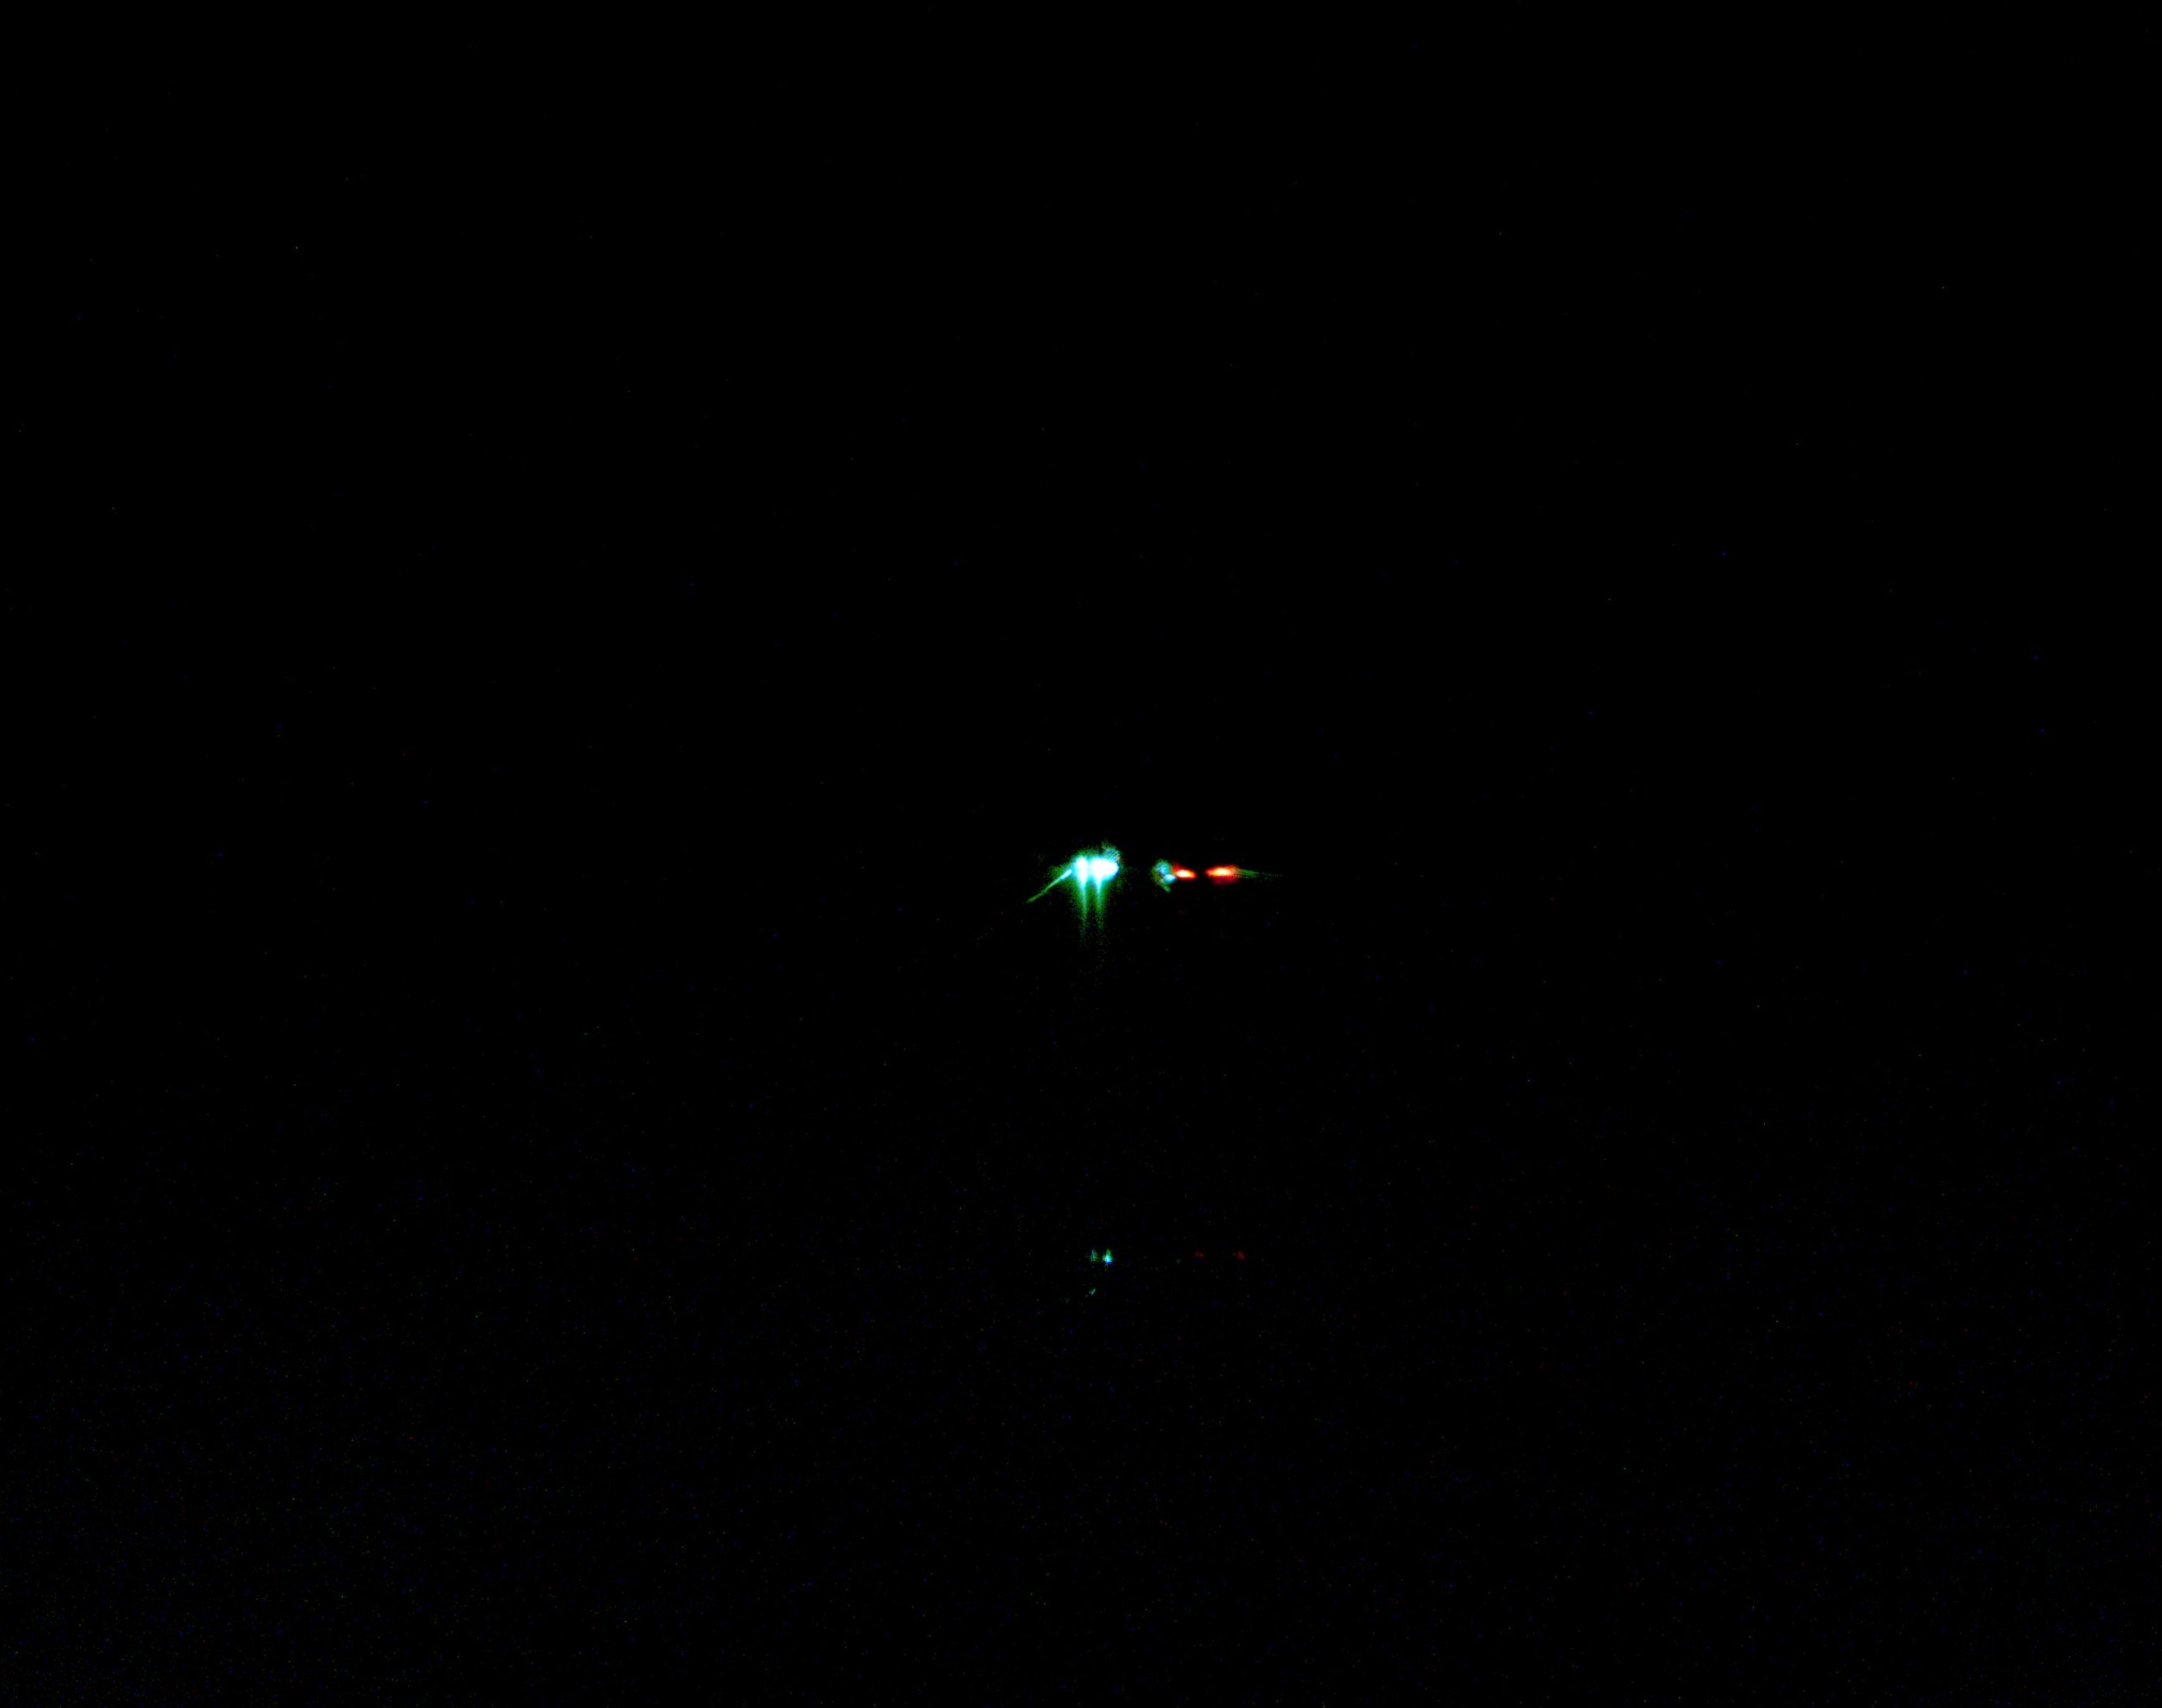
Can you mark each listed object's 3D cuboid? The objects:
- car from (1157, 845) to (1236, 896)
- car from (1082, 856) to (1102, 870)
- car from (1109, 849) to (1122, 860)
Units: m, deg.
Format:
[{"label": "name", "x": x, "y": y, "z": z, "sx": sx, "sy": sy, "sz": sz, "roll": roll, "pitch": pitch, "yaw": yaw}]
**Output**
[{"label": "car", "x": 3.742, "y": 0.495, "z": 25.396, "sx": 1.998, "sy": 1.440, "sz": 4.429, "roll": -3, "pitch": 0, "yaw": 1}, {"label": "car", "x": 1.223, "y": 0.952, "z": 82.423, "sx": 1.807, "sy": 1.452, "sz": 4.277, "roll": -3, "pitch": 0, "yaw": 4}, {"label": "car", "x": 5.957, "y": 0.093, "z": 131.240, "sx": 1.998, "sy": 1.782, "sz": 4.246, "roll": -3, "pitch": 0, "yaw": 1}]
